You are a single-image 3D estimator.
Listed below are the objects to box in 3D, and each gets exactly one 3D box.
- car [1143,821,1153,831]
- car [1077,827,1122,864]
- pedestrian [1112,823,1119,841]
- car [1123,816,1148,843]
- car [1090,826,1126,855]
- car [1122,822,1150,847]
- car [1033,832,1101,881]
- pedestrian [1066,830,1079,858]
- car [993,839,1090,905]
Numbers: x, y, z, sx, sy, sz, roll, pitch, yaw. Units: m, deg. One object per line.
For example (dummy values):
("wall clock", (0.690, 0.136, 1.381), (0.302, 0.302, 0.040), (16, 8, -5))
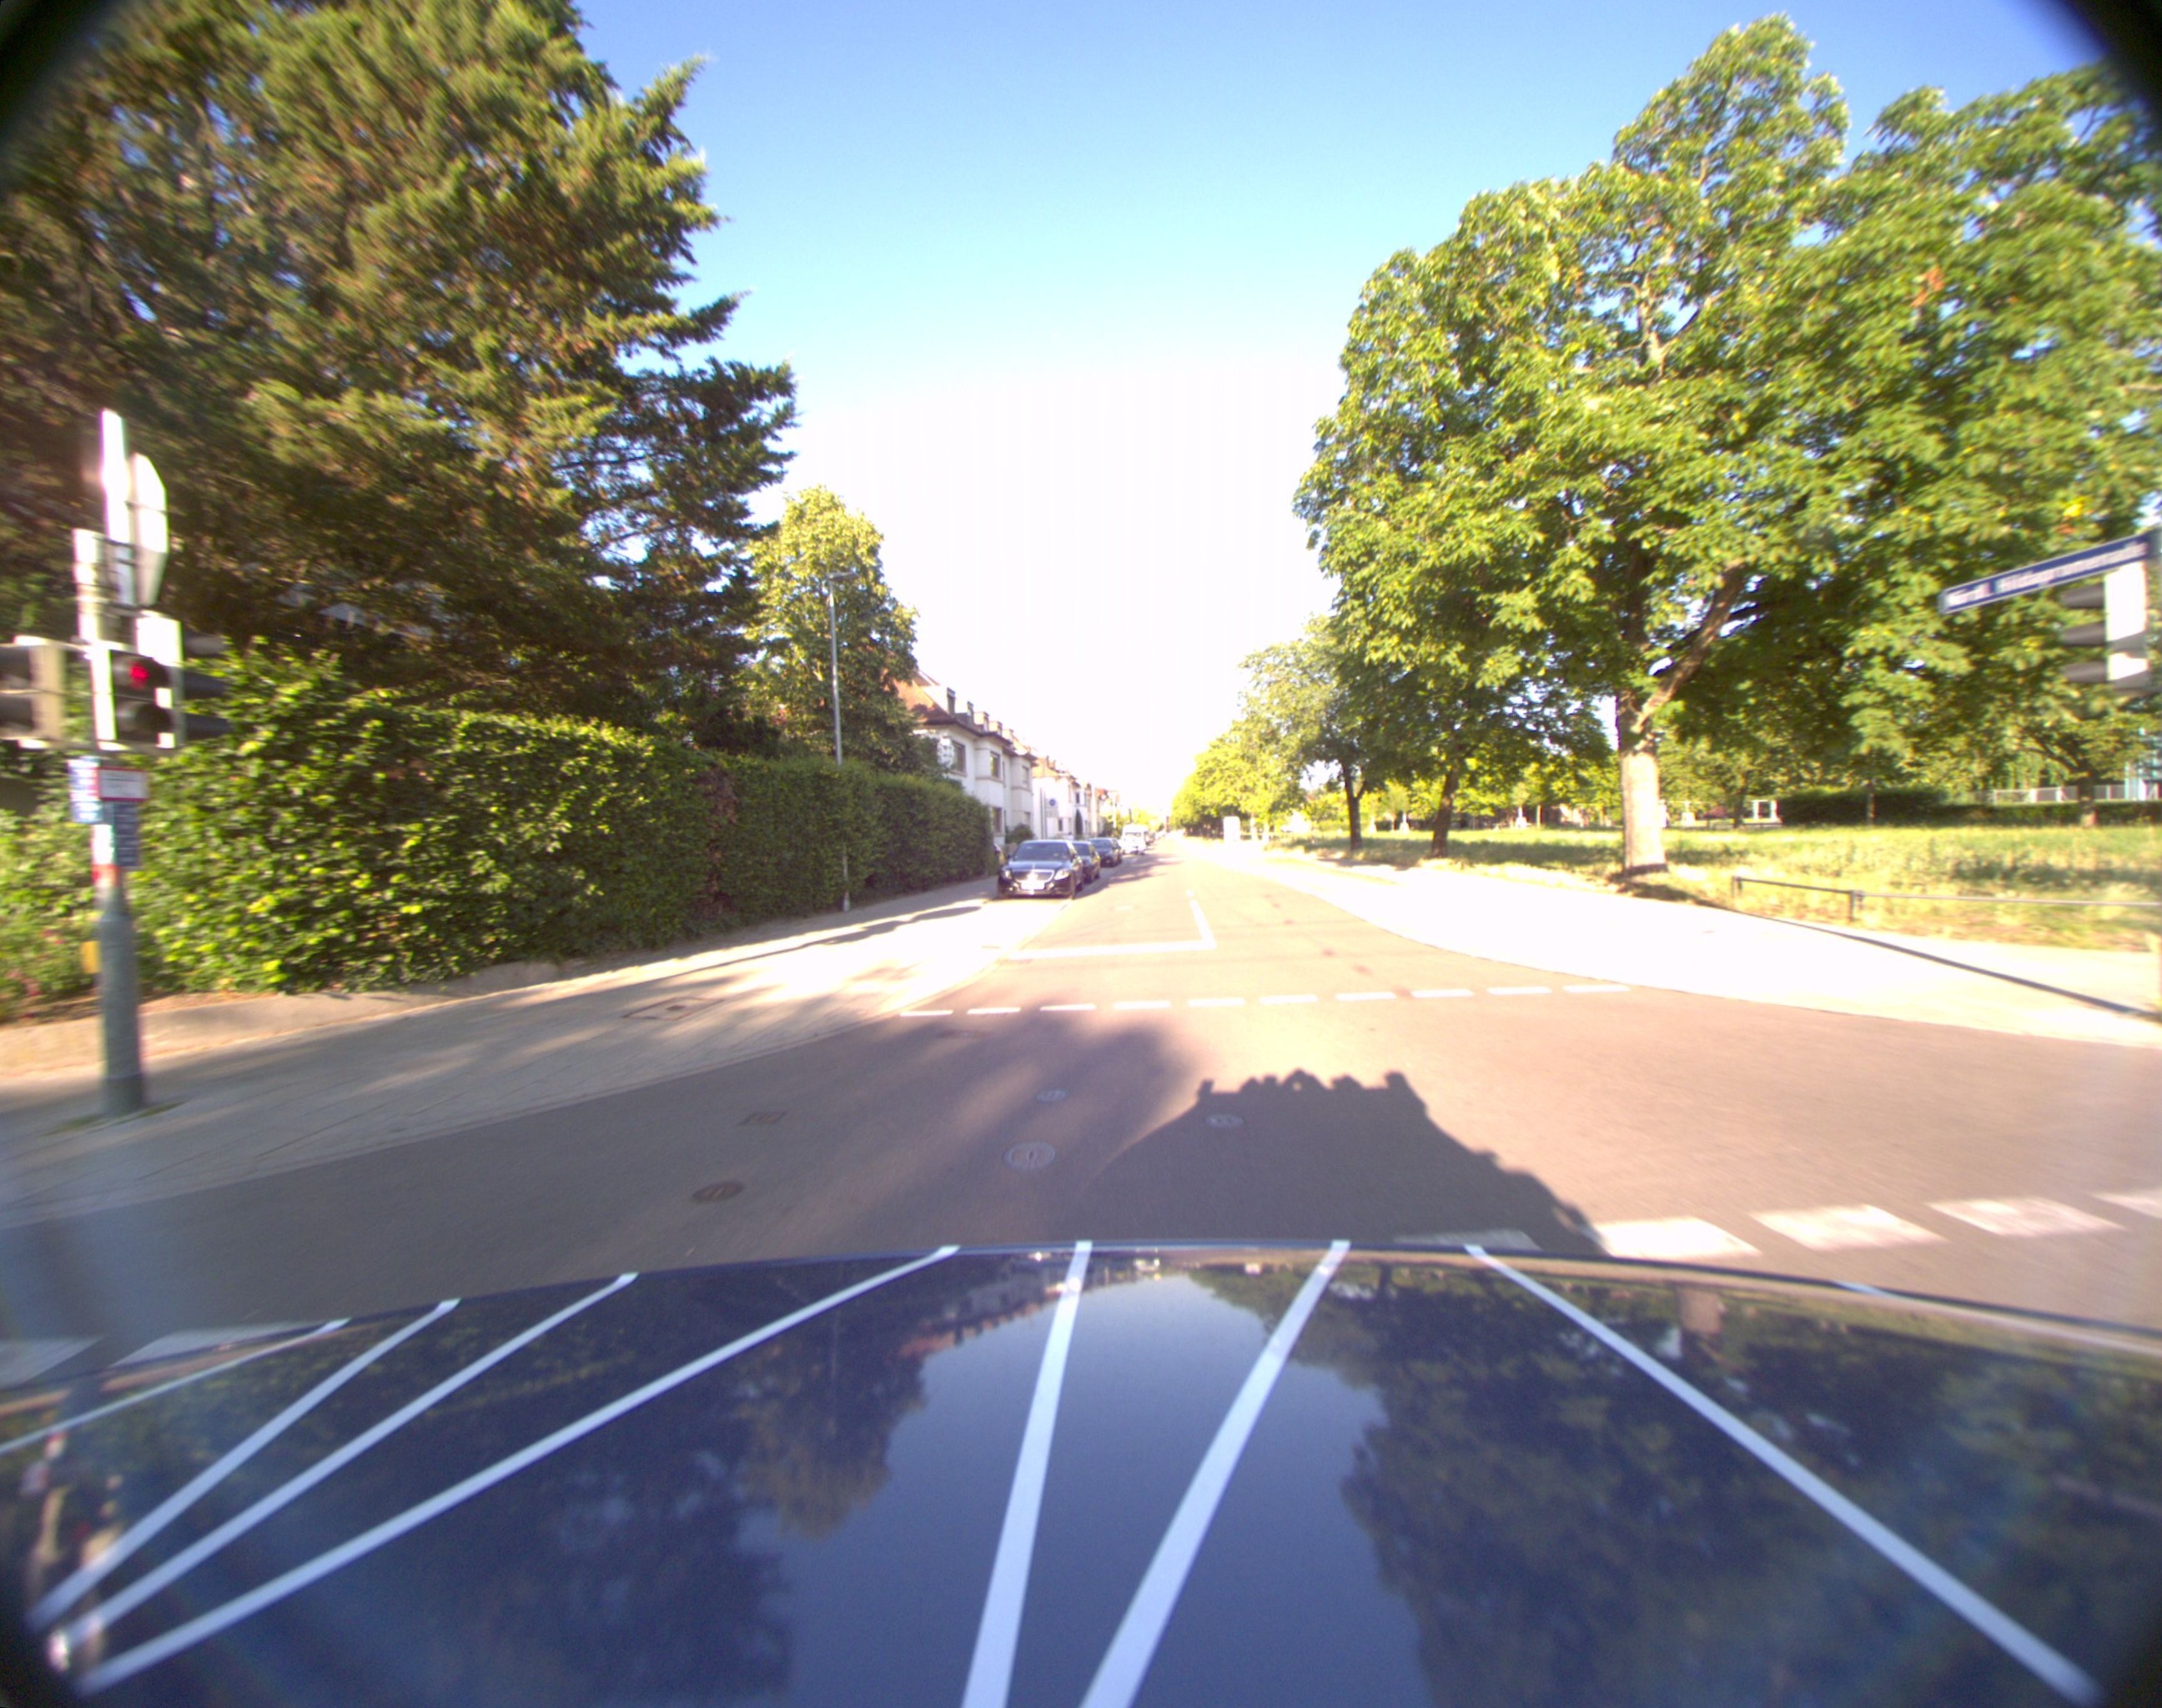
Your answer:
("car", (11.762, -4.903, 132.835), (1.681, 1.543, 3.843), (-1, 2, 5))
("car", (0.985, -0.456, 37.816), (1.795, 1.587, 4.077), (-4, 1, 6))
("pedestrian", (3.514, -2.217, 77.844), (0.530, 1.788, 0.589), (-4, 3, 5))
("car", (5.457, -2.472, 75.863), (2.131, 2.462, 5.724), (-4, 3, 6))
("car", (1.645, -0.830, 44.806), (1.679, 1.525, 3.472), (-4, 1, 8))
("car", (4.442, -1.585, 61.128), (1.998, 1.776, 4.000), (-4, 3, 6))
("car", (-0.391, 0.032, 26.568), (1.783, 1.469, 4.001), (-4, 1, 6))
("pedestrian", (-0.582, -0.710, 52.295), (0.587, 1.836, 0.824), (-4, 3, 8))
("car", (-0.912, 0.374, 20.606), (2.008, 1.490, 4.915), (-1, 2, 4))
